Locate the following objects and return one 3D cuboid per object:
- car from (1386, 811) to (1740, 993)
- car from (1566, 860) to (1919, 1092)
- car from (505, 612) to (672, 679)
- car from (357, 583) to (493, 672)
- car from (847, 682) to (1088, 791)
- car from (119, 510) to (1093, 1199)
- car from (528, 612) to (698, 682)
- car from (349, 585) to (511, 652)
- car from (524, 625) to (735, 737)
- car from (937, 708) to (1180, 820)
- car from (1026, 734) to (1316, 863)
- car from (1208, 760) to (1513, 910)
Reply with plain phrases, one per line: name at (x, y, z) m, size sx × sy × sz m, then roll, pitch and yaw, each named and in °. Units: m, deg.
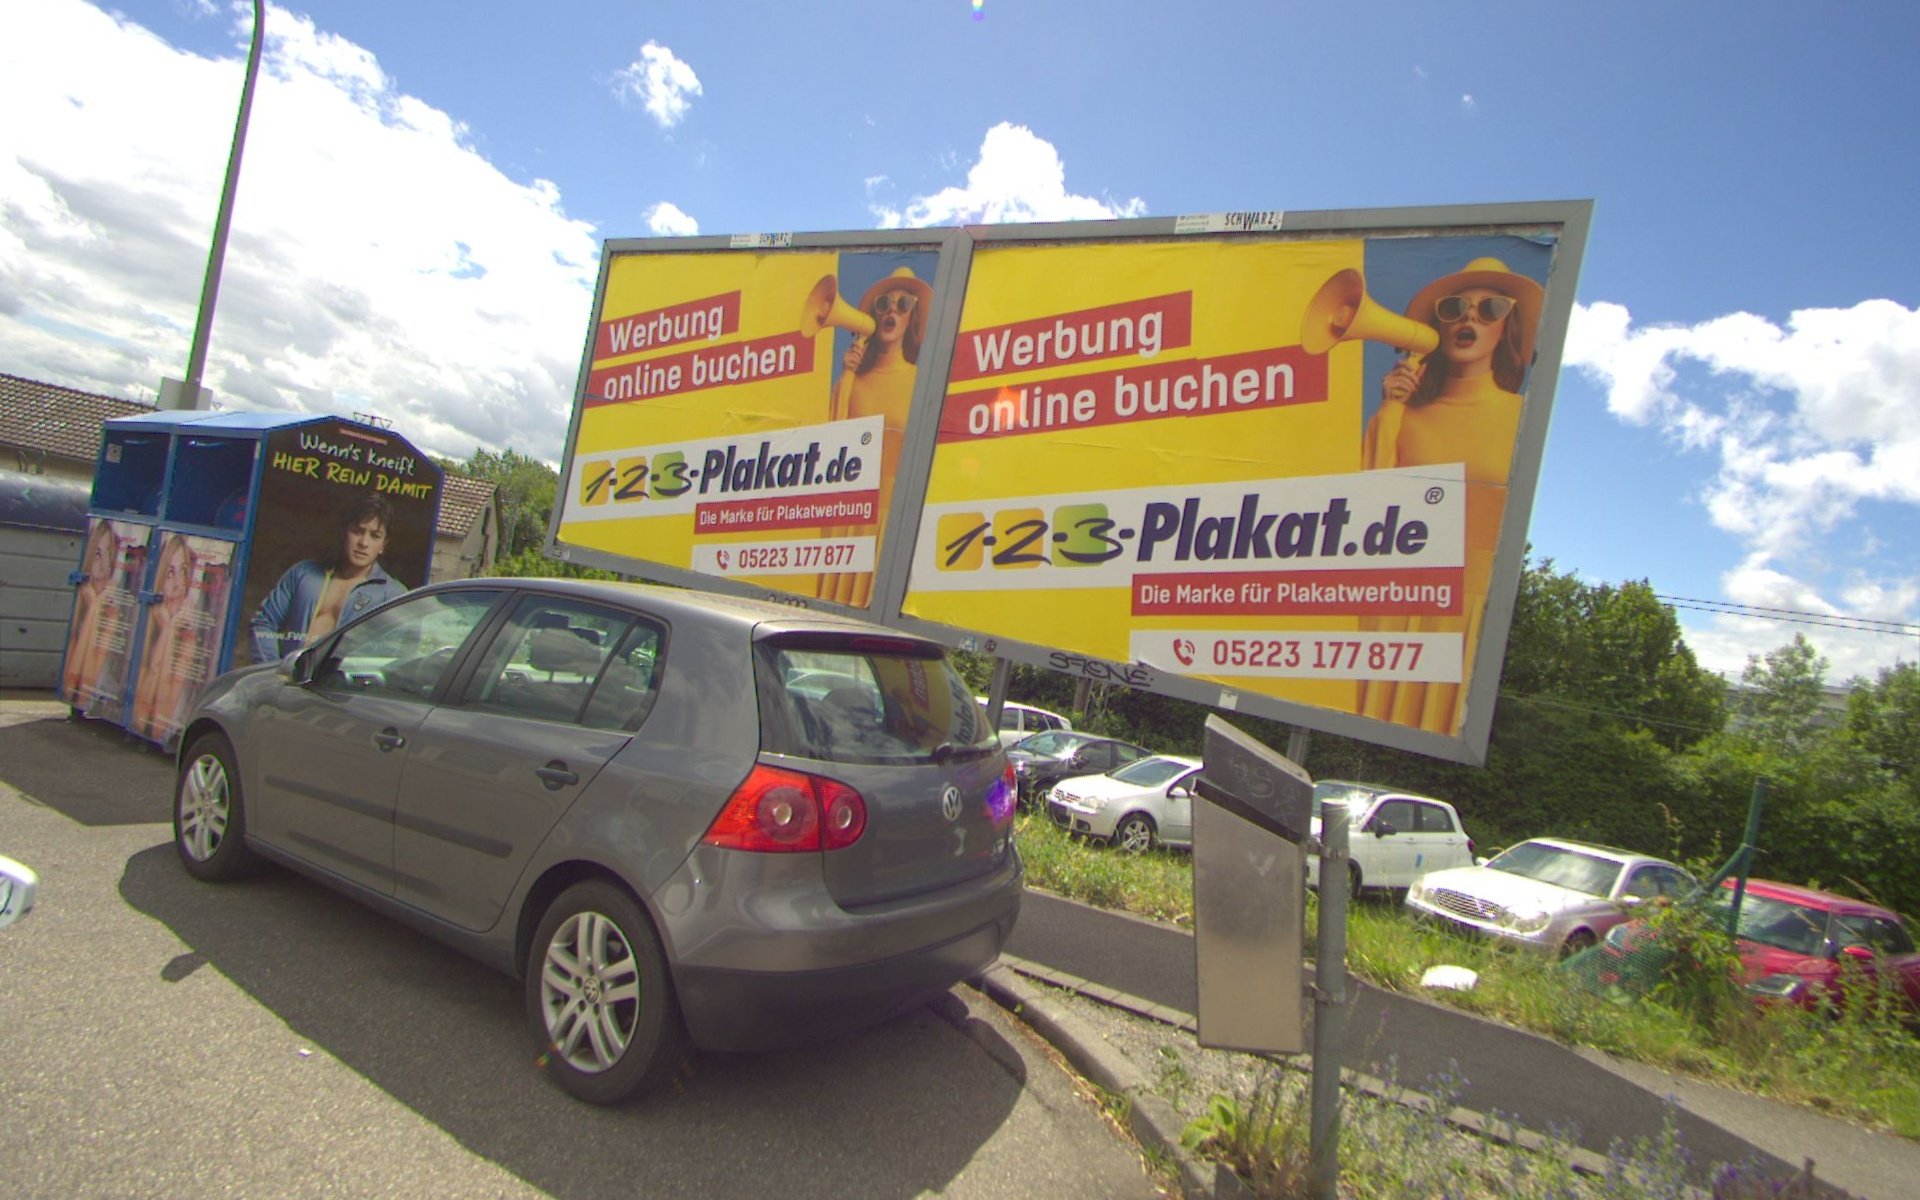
car at (7.152, 3.500, 11.866) m, size 3.958 × 1.467 × 1.733 m, roll 10°, pitch -2°, yaw -29°
car at (8.312, 3.683, 10.274) m, size 3.958 × 1.503 × 1.800 m, roll 10°, pitch -2°, yaw -29°
car at (-10.825, 1.357, 29.407) m, size 4.154 × 1.406 × 1.772 m, roll 8°, pitch -1°, yaw -37°
car at (-14.155, 0.679, 26.489) m, size 4.618 × 1.705 × 1.746 m, roll 7°, pitch 0°, yaw 45°
car at (0.252, 2.648, 19.236) m, size 1.974 × 1.572 × 4.441 m, roll 6°, pitch -3°, yaw 44°
car at (-1.675, 0.605, 4.236) m, size 3.978 × 1.503 × 1.657 m, roll 7°, pitch -1°, yaw 33°
car at (-9.389, 1.293, 27.362) m, size 3.969 × 1.406 × 1.581 m, roll 8°, pitch -1°, yaw -37°
car at (-15.446, 0.543, 29.520) m, size 3.994 × 1.406 × 1.515 m, roll 8°, pitch -1°, yaw -26°
car at (-6.662, 1.570, 20.042) m, size 4.516 × 1.535 × 1.750 m, roll 7°, pitch -1°, yaw 40°
car at (1.761, 2.831, 17.192) m, size 3.973 × 1.458 × 1.718 m, roll 10°, pitch -3°, yaw -39°
car at (3.230, 3.031, 15.307) m, size 3.991 × 1.369 × 1.728 m, roll 9°, pitch -2°, yaw -26°
car at (5.664, 3.314, 14.159) m, size 3.958 × 1.557 × 1.775 m, roll 10°, pitch -2°, yaw -29°
